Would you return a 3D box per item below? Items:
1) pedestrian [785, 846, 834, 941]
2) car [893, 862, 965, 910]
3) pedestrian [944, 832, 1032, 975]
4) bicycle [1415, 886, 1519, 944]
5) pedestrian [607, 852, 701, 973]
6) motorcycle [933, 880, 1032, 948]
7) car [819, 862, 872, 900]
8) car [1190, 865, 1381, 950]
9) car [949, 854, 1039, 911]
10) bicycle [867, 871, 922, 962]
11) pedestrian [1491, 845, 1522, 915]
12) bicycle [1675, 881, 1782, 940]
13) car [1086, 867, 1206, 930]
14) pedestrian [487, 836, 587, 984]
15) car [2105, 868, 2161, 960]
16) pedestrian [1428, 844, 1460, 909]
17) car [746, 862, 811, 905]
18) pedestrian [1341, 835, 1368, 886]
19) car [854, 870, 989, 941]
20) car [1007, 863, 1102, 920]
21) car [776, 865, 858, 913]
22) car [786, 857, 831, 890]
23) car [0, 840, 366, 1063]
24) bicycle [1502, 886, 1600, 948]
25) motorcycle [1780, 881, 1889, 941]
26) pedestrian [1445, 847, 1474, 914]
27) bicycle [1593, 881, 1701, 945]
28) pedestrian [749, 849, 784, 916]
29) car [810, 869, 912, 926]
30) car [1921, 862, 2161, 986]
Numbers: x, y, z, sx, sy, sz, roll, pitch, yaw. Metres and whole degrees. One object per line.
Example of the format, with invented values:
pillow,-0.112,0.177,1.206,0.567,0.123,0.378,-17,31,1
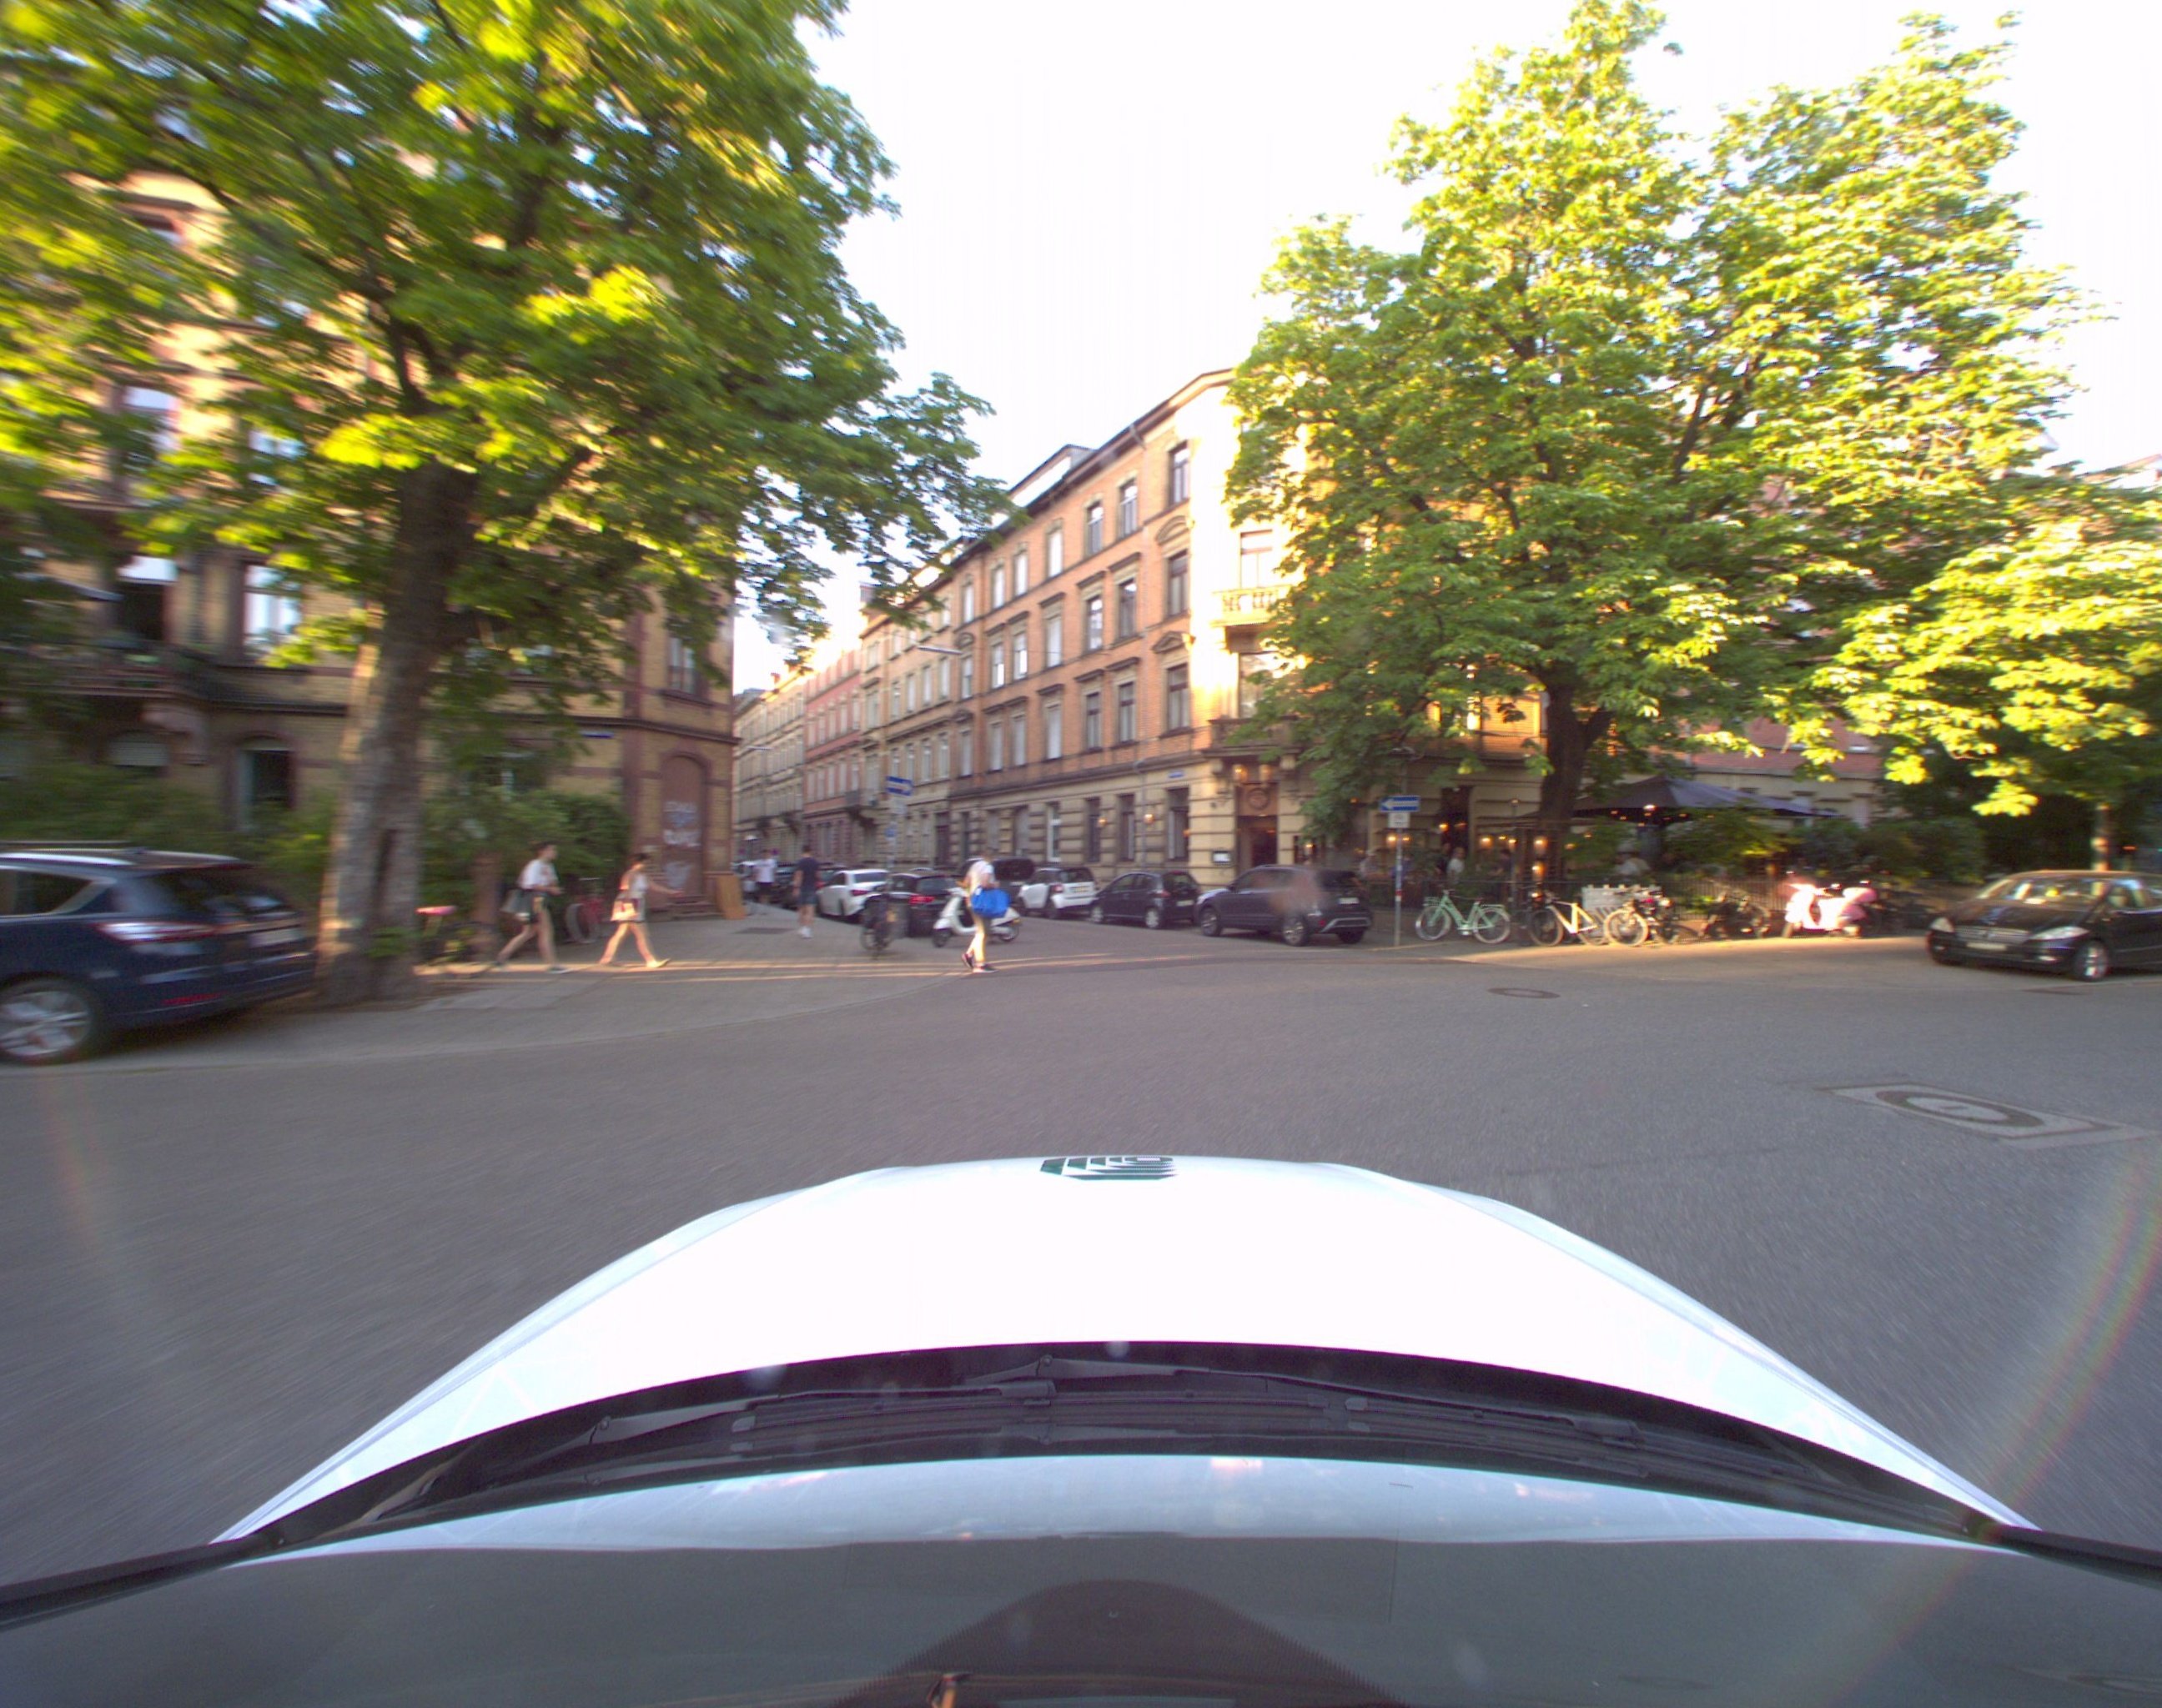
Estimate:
pedestrian,-5.384,0.768,16.180,0.685,1.823,0.790,4,-1,-11
car,-6.233,1.261,33.192,1.695,1.823,3.452,0,-1,-33
pedestrian,-1.387,0.706,12.069,1.013,2.014,0.860,1,-2,-33
bicycle,7.684,1.192,16.256,1.805,1.098,0.395,-1,-1,39
pedestrian,-6.098,0.806,11.651,1.058,1.630,0.679,1,-2,-39
motorcycle,-1.930,1.153,15.967,1.858,1.257,0.470,-1,-1,-16
car,-12.092,1.347,41.674,1.695,1.823,3.452,0,-1,-33
car,4.148,1.015,17.070,1.639,1.545,3.819,0,-1,-32
car,-3.061,0.940,28.143,1.695,1.823,3.452,0,-1,-33
bicycle,-3.120,1.005,13.765,0.515,1.392,1.799,2,-1,-2
pedestrian,8.995,0.550,17.222,0.466,1.451,0.424,0,-1,-44
bicycle,13.323,1.166,16.769,1.946,1.143,0.392,1,1,-4
car,1.644,1.107,21.470,1.472,1.458,3.300,0,0,-32
pedestrian,-7.145,0.706,10.704,1.014,1.835,0.679,1,-2,-39
car,19.879,1.031,13.861,3.703,1.493,1.662,0,2,-14
pedestrian,8.710,0.532,19.542,0.466,1.520,0.518,0,-1,-44
car,-12.000,1.130,32.123,1.585,1.572,4.077,0,-1,-33
pedestrian,7.610,0.185,22.680,0.465,1.412,0.520,0,-1,-27
car,-3.860,1.114,19.183,1.794,1.458,3.977,0,-1,-33
car,-0.872,1.097,24.908,1.472,1.594,3.300,0,-1,-31
car,-8.967,1.125,27.474,1.585,1.458,4.379,0,-1,-33
car,-15.770,1.123,47.063,1.695,1.823,3.452,0,-1,-33
car,-9.322,0.732,6.851,4.583,1.687,1.863,0,0,-14
bicycle,8.971,1.189,15.537,1.740,1.144,0.391,0,-2,-10
motorcycle,15.479,1.165,16.748,1.946,1.185,0.392,1,1,-4
pedestrian,8.363,0.575,17.996,0.466,1.451,0.424,0,-1,-44
bicycle,10.850,1.125,15.606,1.950,1.185,0.391,1,2,-10
pedestrian,-8.963,0.810,23.204,0.781,1.823,0.918,4,-1,-24
car,-6.425,1.169,23.448,1.585,1.458,4.379,0,-1,-33
car,15.593,1.007,12.785,3.840,1.677,1.662,0,2,-15
